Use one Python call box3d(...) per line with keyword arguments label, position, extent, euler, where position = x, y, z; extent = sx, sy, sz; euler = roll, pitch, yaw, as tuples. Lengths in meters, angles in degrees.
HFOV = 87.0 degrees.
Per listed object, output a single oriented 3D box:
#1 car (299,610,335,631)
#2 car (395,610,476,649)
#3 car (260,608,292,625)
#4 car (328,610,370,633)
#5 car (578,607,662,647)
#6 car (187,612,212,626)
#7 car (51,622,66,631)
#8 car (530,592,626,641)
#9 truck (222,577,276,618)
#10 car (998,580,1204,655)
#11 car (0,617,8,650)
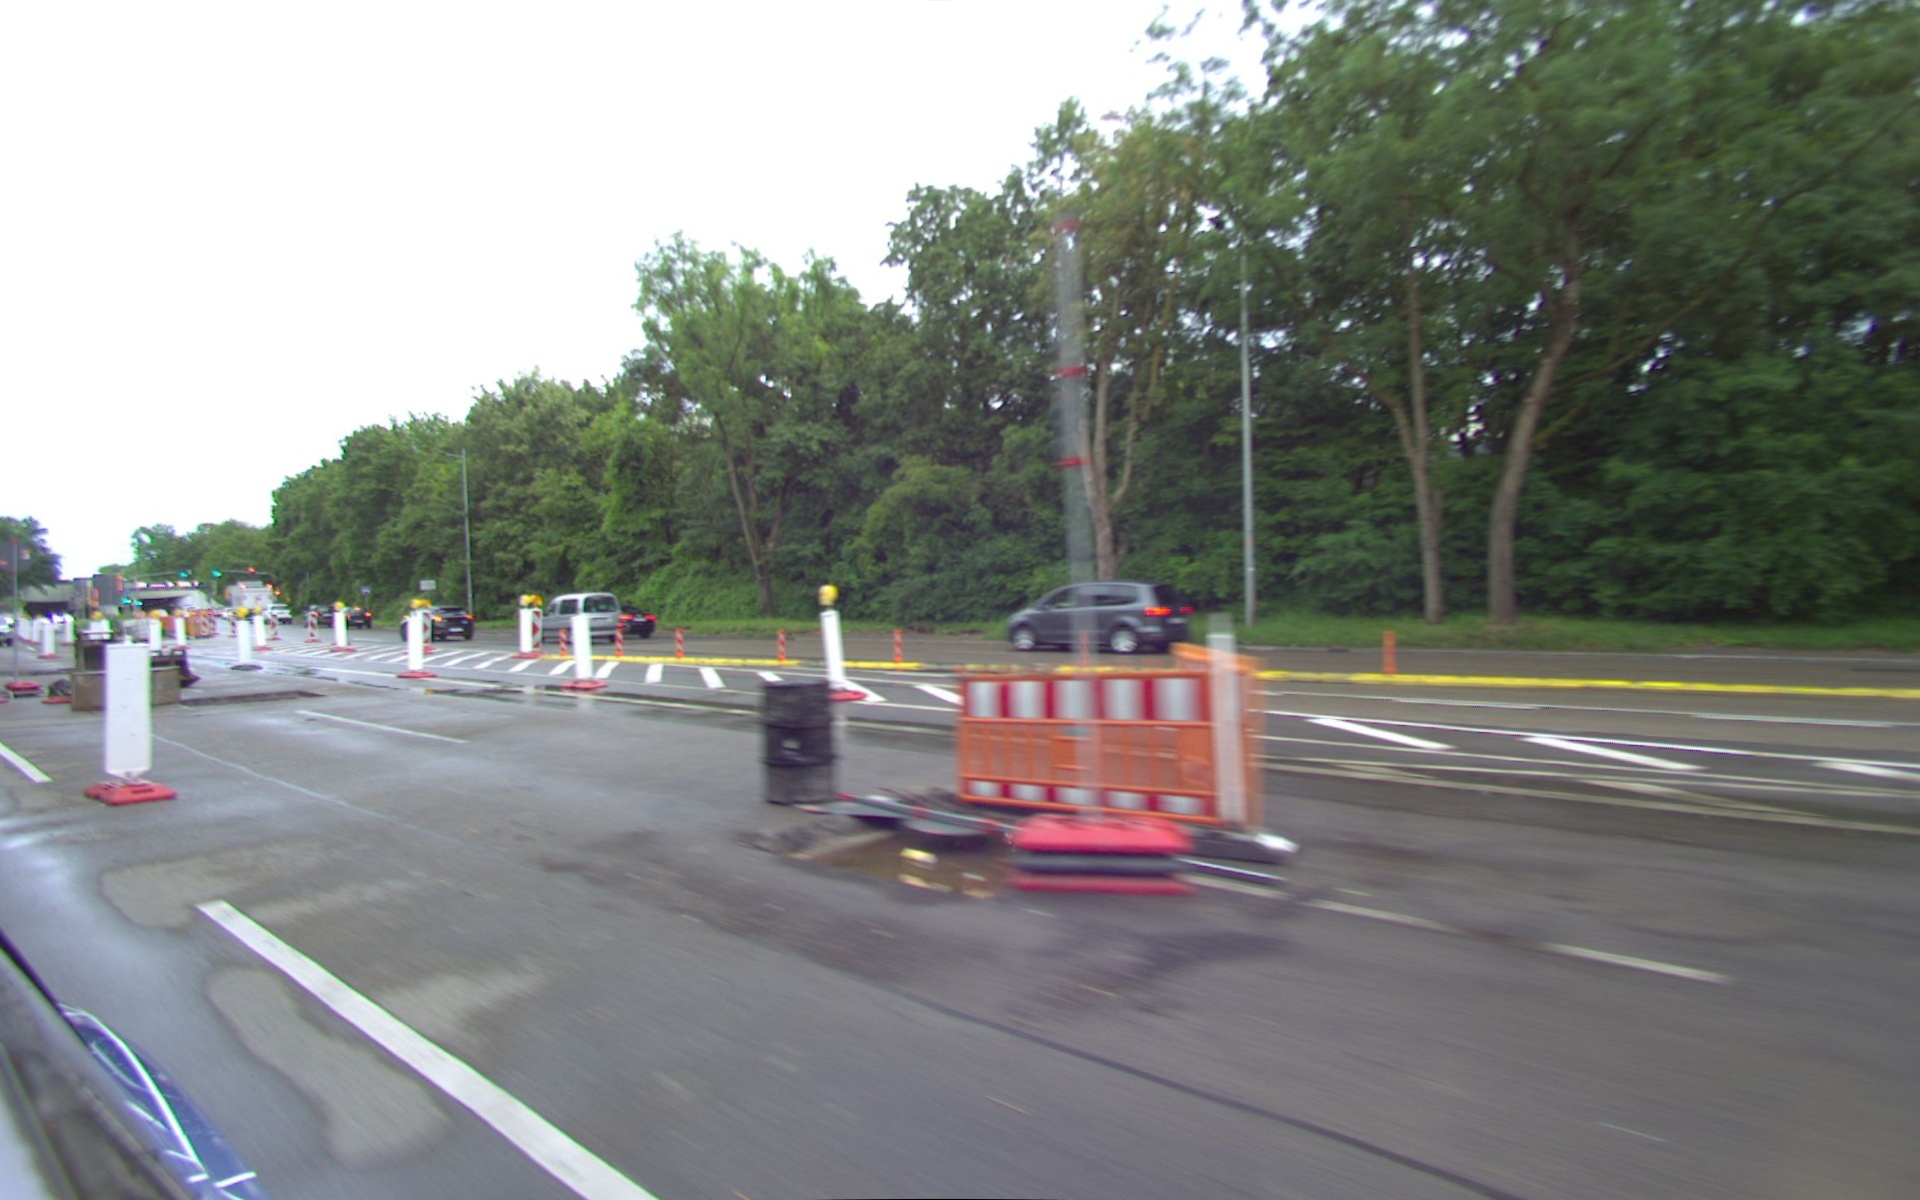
box3d(label="car", position=(-48.256, 1.569, 75.935), extent=(1.655, 1.507, 3.773), euler=(0, -1, -43))
box3d(label="car", position=(-21.385, 1.202, 41.229), extent=(3.768, 1.507, 1.720), euler=(-1, -1, 42))
box3d(label="car", position=(-61.536, 1.513, 91.036), extent=(1.880, 1.507, 3.774), euler=(0, -1, -42))
box3d(label="car", position=(-41.774, 1.491, 69.179), extent=(1.655, 1.507, 3.772), euler=(0, -1, -44))
box3d(label="car", position=(-13.443, 1.038, 39.943), extent=(3.607, 1.495, 1.603), euler=(-1, -1, 43))
box3d(label="car", position=(-84.146, 2.061, 111.928), extent=(1.839, 1.507, 4.182), euler=(0, -1, -43))
box3d(label="car", position=(-159.260, 4.686, 178.729), extent=(1.880, 1.507, 3.773), euler=(0, -1, -43))
box3d(label="car", position=(-13.471, 0.589, 35.602), extent=(3.769, 1.626, 1.656), euler=(-1, -1, 43))
box3d(label="truck", position=(-71.582, -0.226, 101.795), extent=(3.106, 3.860, 9.656), euler=(-1, 0, -43))
box3d(label="car", position=(3.271, 0.426, 24.190), extent=(4.765, 1.626, 1.657), euler=(-1, -1, 42))
box3d(label="car", position=(-48.952, 1.690, 50.688), extent=(1.768, 1.596, 3.865), euler=(-3, 1, -43))
